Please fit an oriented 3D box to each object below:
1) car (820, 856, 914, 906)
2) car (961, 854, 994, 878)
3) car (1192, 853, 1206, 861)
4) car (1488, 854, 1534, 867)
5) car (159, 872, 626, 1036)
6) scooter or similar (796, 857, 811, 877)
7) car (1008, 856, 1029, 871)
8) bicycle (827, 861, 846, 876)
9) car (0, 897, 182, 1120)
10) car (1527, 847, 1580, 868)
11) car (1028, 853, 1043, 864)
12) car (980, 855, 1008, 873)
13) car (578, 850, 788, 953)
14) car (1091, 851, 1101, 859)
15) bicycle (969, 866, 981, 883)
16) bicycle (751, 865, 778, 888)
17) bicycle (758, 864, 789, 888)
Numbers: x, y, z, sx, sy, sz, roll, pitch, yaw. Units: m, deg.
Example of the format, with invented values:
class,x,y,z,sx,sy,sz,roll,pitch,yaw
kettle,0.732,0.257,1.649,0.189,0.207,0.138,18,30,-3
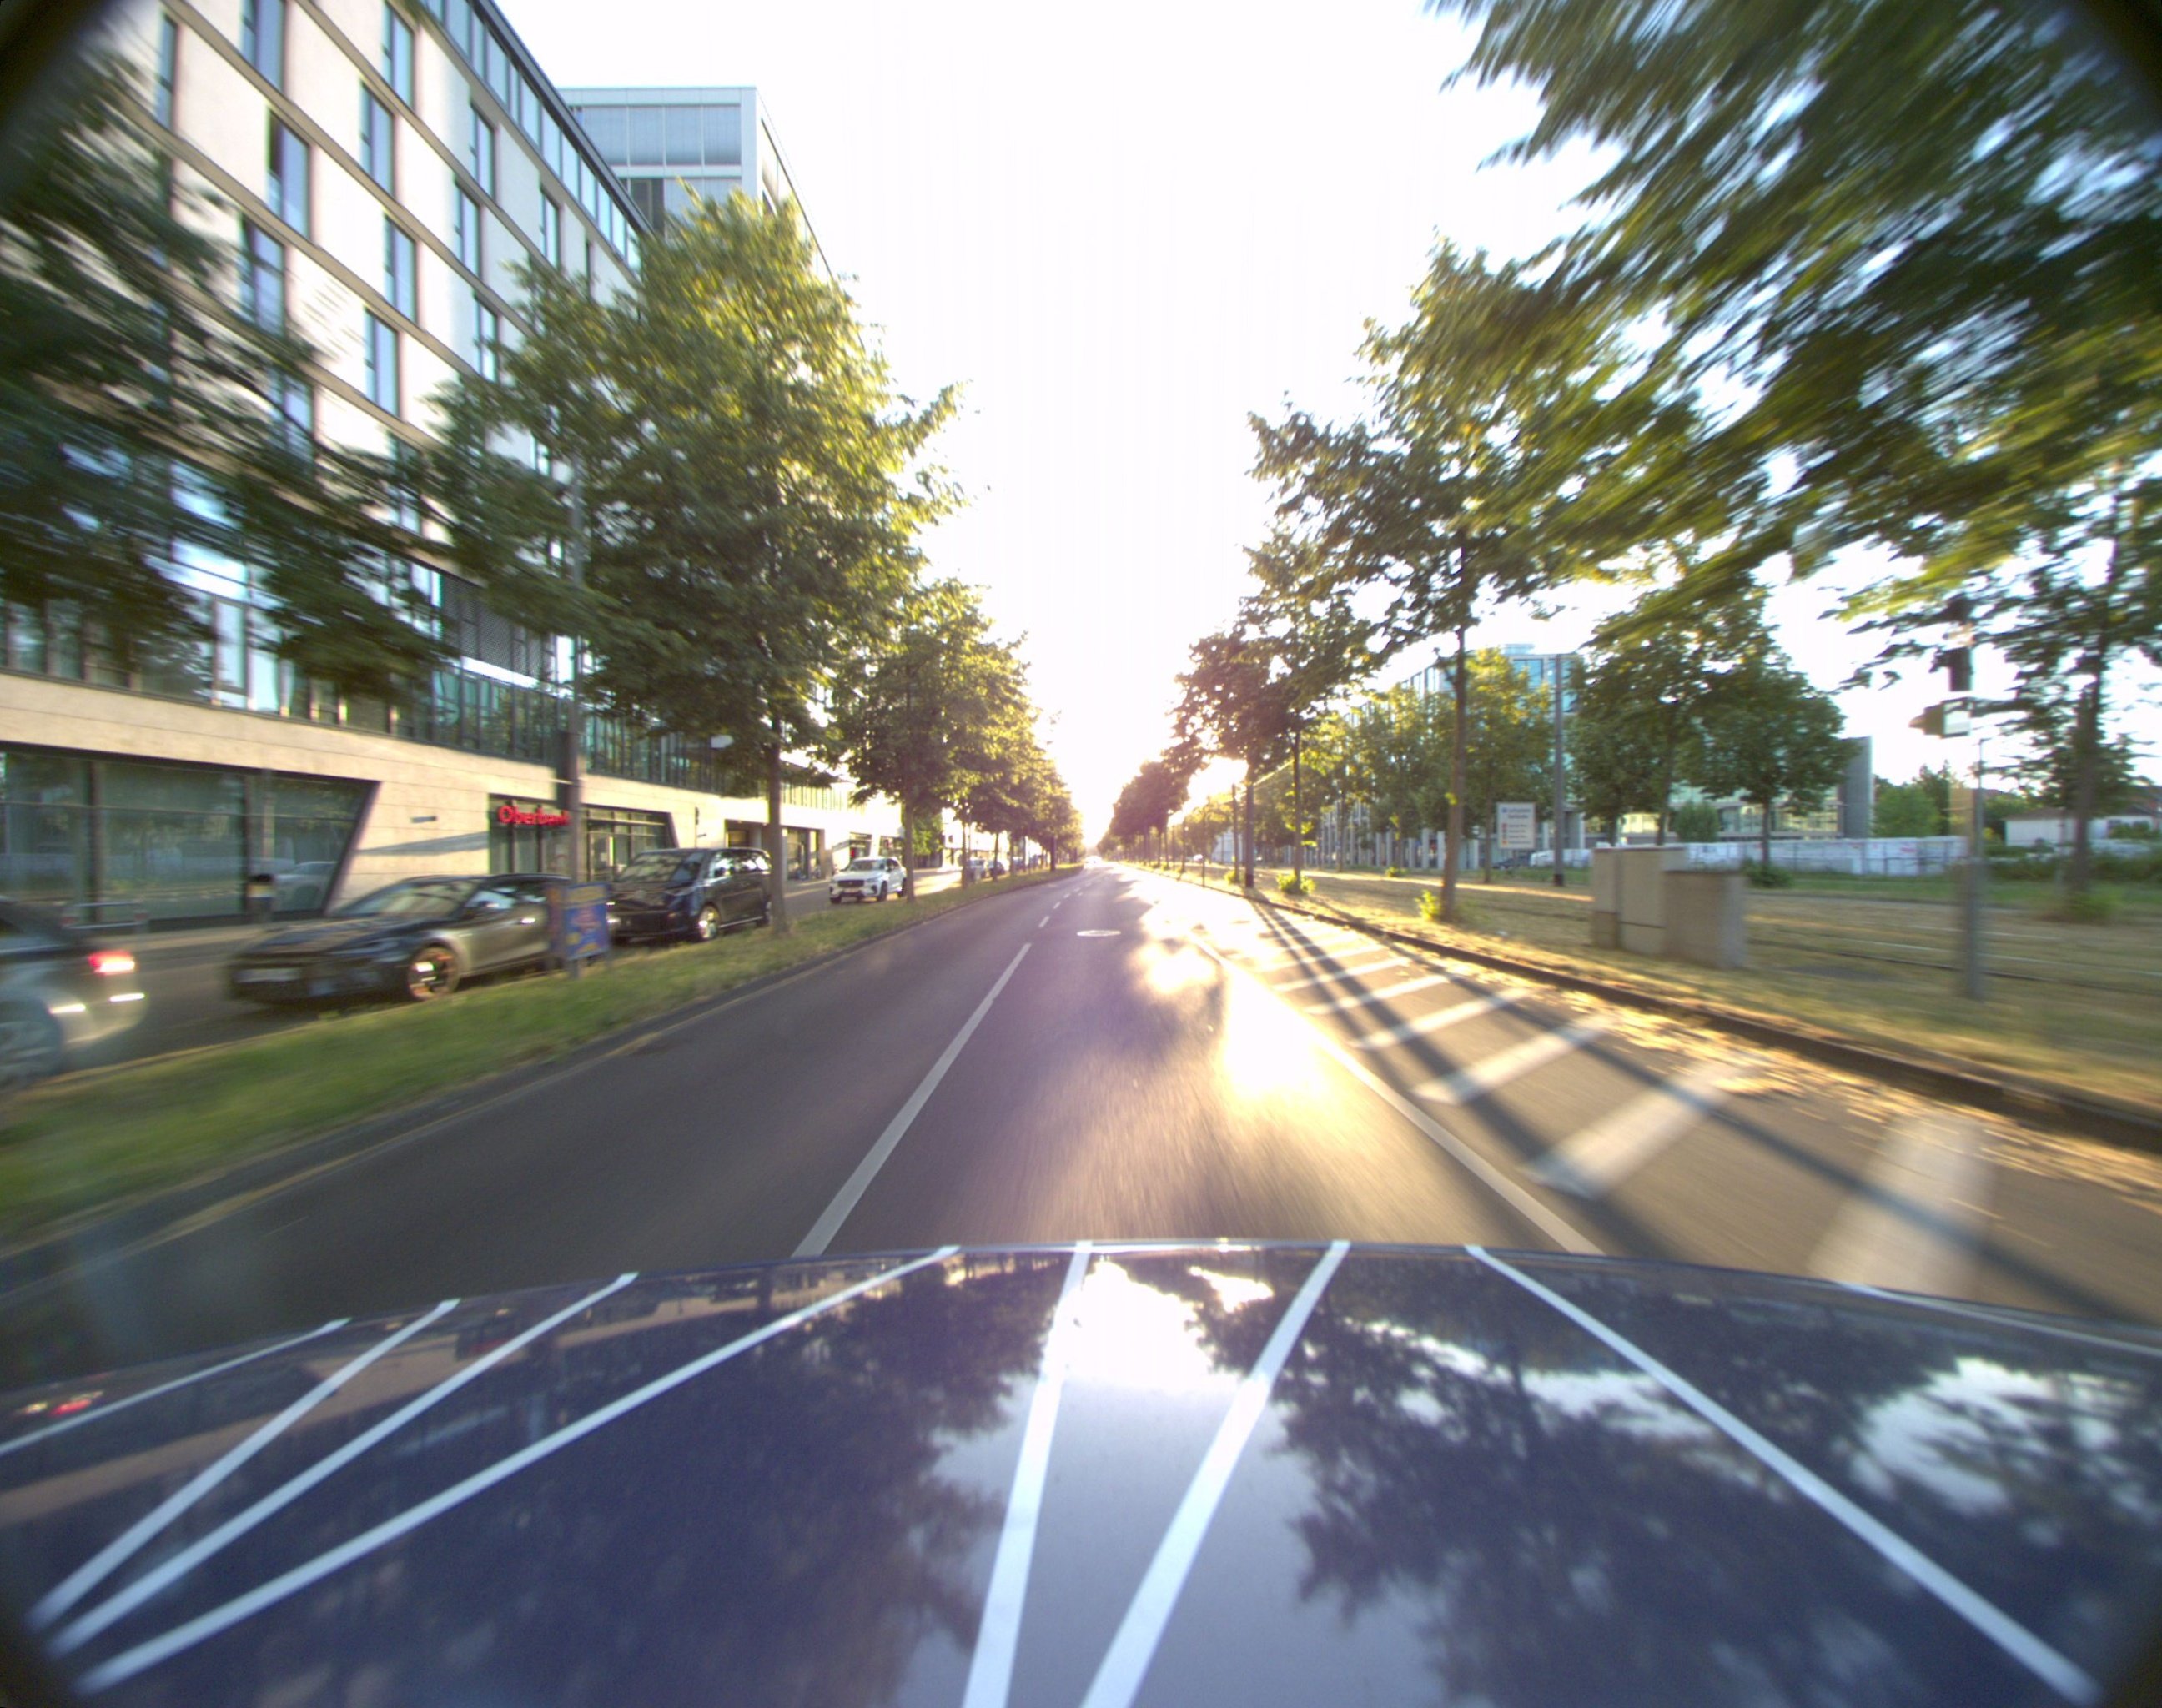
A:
class,x,y,z,sx,sy,sz,roll,pitch,yaw
car,-7.891,0.936,28.503,1.998,1.633,4.878,0,0,2
car,-7.215,0.809,53.241,1.714,1.506,3.759,-3,0,0
car,22.663,0.558,145.803,1.907,1.477,4.630,0,0,-1
car,48.017,0.748,84.915,3.996,1.437,1.895,0,0,4
car,-8.166,1.040,9.811,1.814,1.463,4.664,0,0,-1
scooter or similar,-17.305,0.817,47.414,0.473,1.204,1.229,0,1,2
car,-6.825,1.002,83.626,1.785,1.485,4.000,-3,0,1
bicycle,-17.169,0.997,53.401,0.454,1.022,1.396,0,1,27
car,-8.071,1.058,3.653,1.873,1.403,4.646,0,0,2
car,46.934,0.359,75.566,2.212,2.002,5.084,0,0,1
car,-6.360,0.629,107.534,1.843,1.561,4.061,-1,0,0
car,-7.151,0.811,62.877,1.857,1.359,4.833,0,0,-1
car,-8.069,0.846,16.017,1.999,1.841,4.664,0,0,-1
car,3.056,0.182,152.447,1.998,1.473,4.335,0,-1,0
bicycle,-5.443,1.041,39.068,0.316,0.818,1.552,0,0,2
bicycle,-15.042,1.039,36.118,0.471,1.033,1.807,0,0,2
bicycle,-14.480,1.019,35.834,0.596,1.033,1.892,0,0,2
